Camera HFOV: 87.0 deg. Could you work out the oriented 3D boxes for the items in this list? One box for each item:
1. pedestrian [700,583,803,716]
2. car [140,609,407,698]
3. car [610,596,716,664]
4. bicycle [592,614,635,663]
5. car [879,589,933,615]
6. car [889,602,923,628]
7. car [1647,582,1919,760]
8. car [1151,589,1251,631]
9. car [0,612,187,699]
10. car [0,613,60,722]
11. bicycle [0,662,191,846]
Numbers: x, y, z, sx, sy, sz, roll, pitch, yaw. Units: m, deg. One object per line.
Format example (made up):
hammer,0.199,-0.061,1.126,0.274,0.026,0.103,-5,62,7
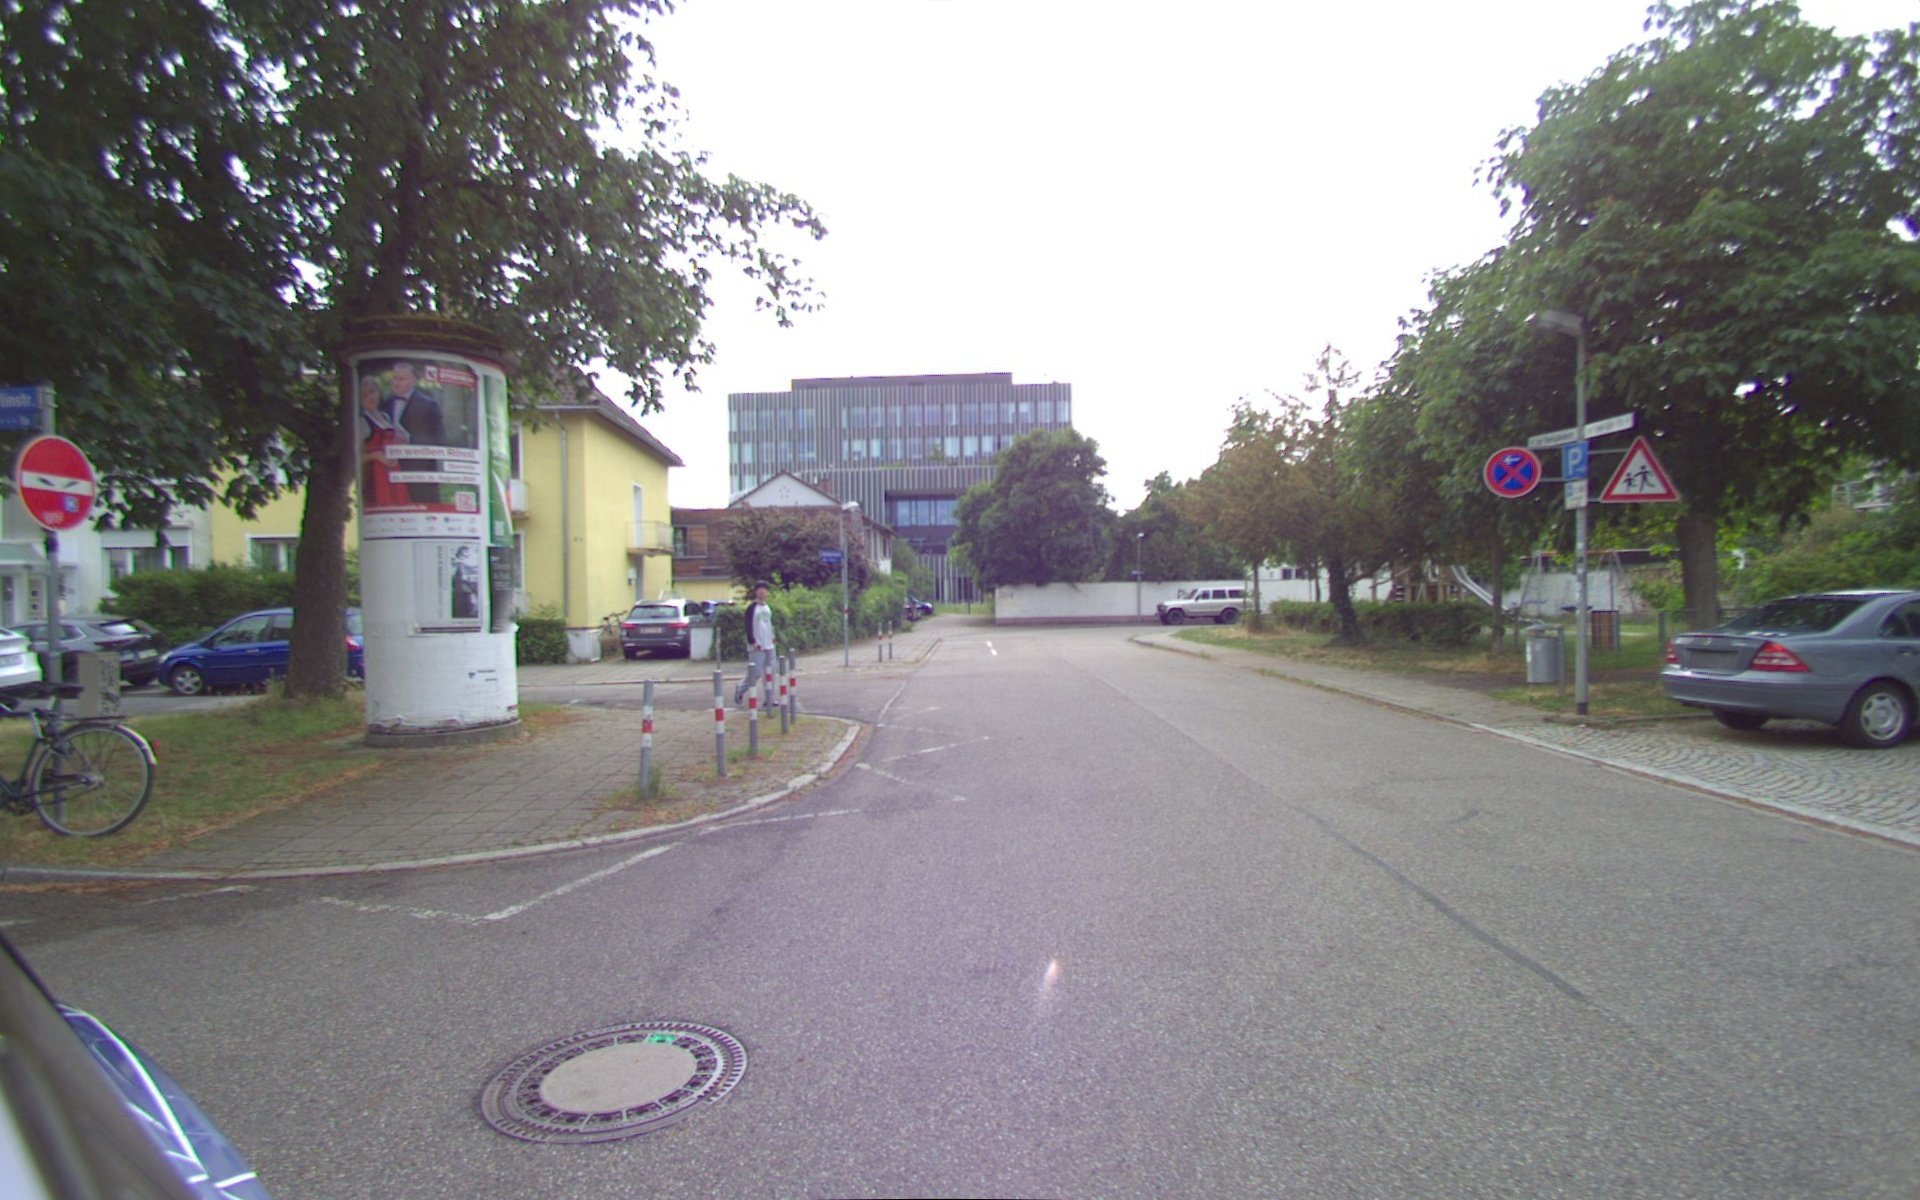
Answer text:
pedestrian,-3.050,0.695,14.834,1.216,1.850,0.868,-1,-1,35
car,-13.574,1.026,20.178,4.151,1.578,1.705,-1,1,0
car,-7.684,0.743,26.567,1.816,1.622,4.003,-1,0,-3
bicycle,-9.143,0.987,26.746,0.476,1.203,2.178,-1,0,-3
car,-4.088,0.129,76.954,3.947,1.851,1.999,-1,2,3
car,-3.500,0.965,66.361,1.973,1.408,3.999,-1,2,1
car,9.395,0.569,9.699,4.492,1.465,1.681,-2,0,-3
car,12.023,0.481,50.700,4.428,1.873,2.002,-1,2,-2
car,-18.113,1.096,20.072,4.104,1.511,1.722,-1,2,-4
car,-16.366,1.030,14.670,4.810,1.578,1.905,-1,0,-4
bicycle,-5.957,0.929,6.071,2.148,0.993,0.513,-2,2,-6
